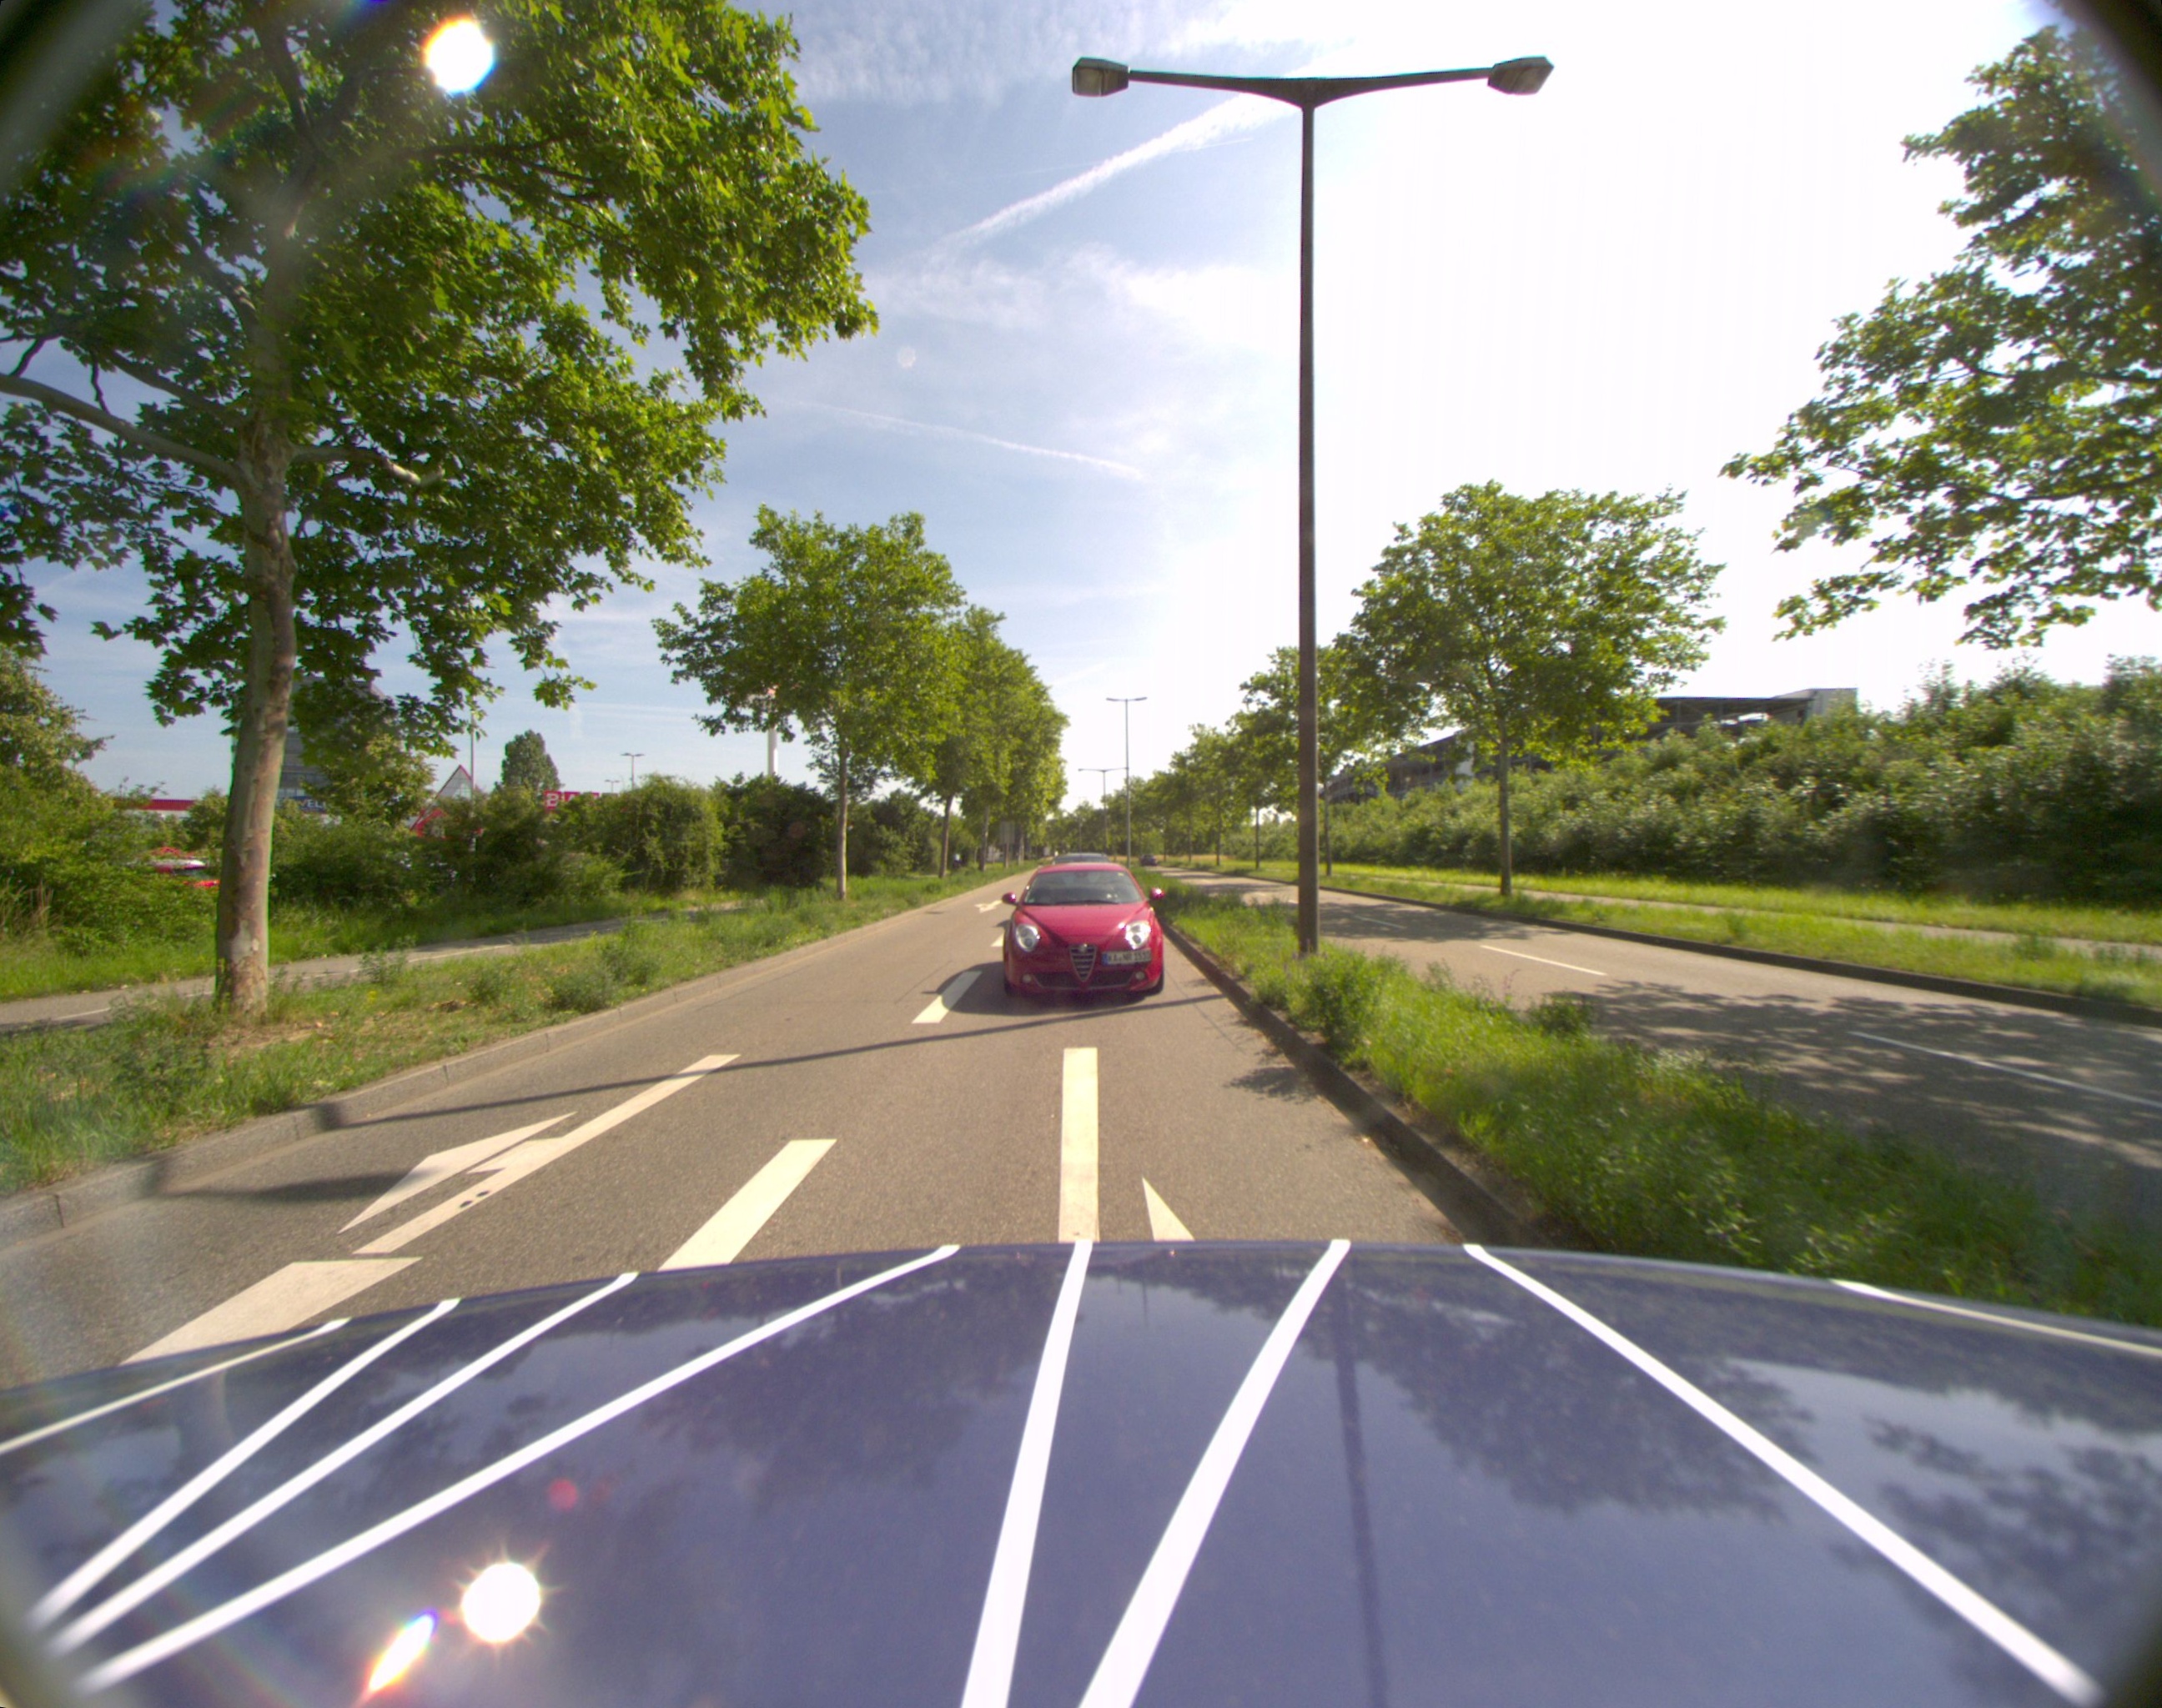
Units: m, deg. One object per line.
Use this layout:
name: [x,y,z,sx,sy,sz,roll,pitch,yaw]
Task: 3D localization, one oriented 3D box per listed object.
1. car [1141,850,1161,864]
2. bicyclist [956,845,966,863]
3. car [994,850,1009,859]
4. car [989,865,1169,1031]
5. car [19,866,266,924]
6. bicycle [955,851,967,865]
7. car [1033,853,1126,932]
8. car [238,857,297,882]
car: [8.052,0.311,87.726,1.868,1.459,3.937,-1,1,0]
bicyclist: [-10.652,0.011,67.464,0.687,1.622,1.002,0,1,1]
car: [-18.997,0.050,181.333,2.003,2.002,4.687,-1,1,-30]
car: [0.003,0.926,9.147,1.658,1.430,3.908,-2,1,1]
car: [-22.741,0.961,18.545,3.563,1.292,1.766,0,1,-6]
bicycle: [-10.651,0.348,67.413,0.687,1.230,1.934,0,1,1]
car: [-0.007,0.783,17.429,1.874,1.536,4.081,-1,1,1]
car: [-49.963,0.916,46.754,1.693,1.447,3.989,-1,1,-35]
